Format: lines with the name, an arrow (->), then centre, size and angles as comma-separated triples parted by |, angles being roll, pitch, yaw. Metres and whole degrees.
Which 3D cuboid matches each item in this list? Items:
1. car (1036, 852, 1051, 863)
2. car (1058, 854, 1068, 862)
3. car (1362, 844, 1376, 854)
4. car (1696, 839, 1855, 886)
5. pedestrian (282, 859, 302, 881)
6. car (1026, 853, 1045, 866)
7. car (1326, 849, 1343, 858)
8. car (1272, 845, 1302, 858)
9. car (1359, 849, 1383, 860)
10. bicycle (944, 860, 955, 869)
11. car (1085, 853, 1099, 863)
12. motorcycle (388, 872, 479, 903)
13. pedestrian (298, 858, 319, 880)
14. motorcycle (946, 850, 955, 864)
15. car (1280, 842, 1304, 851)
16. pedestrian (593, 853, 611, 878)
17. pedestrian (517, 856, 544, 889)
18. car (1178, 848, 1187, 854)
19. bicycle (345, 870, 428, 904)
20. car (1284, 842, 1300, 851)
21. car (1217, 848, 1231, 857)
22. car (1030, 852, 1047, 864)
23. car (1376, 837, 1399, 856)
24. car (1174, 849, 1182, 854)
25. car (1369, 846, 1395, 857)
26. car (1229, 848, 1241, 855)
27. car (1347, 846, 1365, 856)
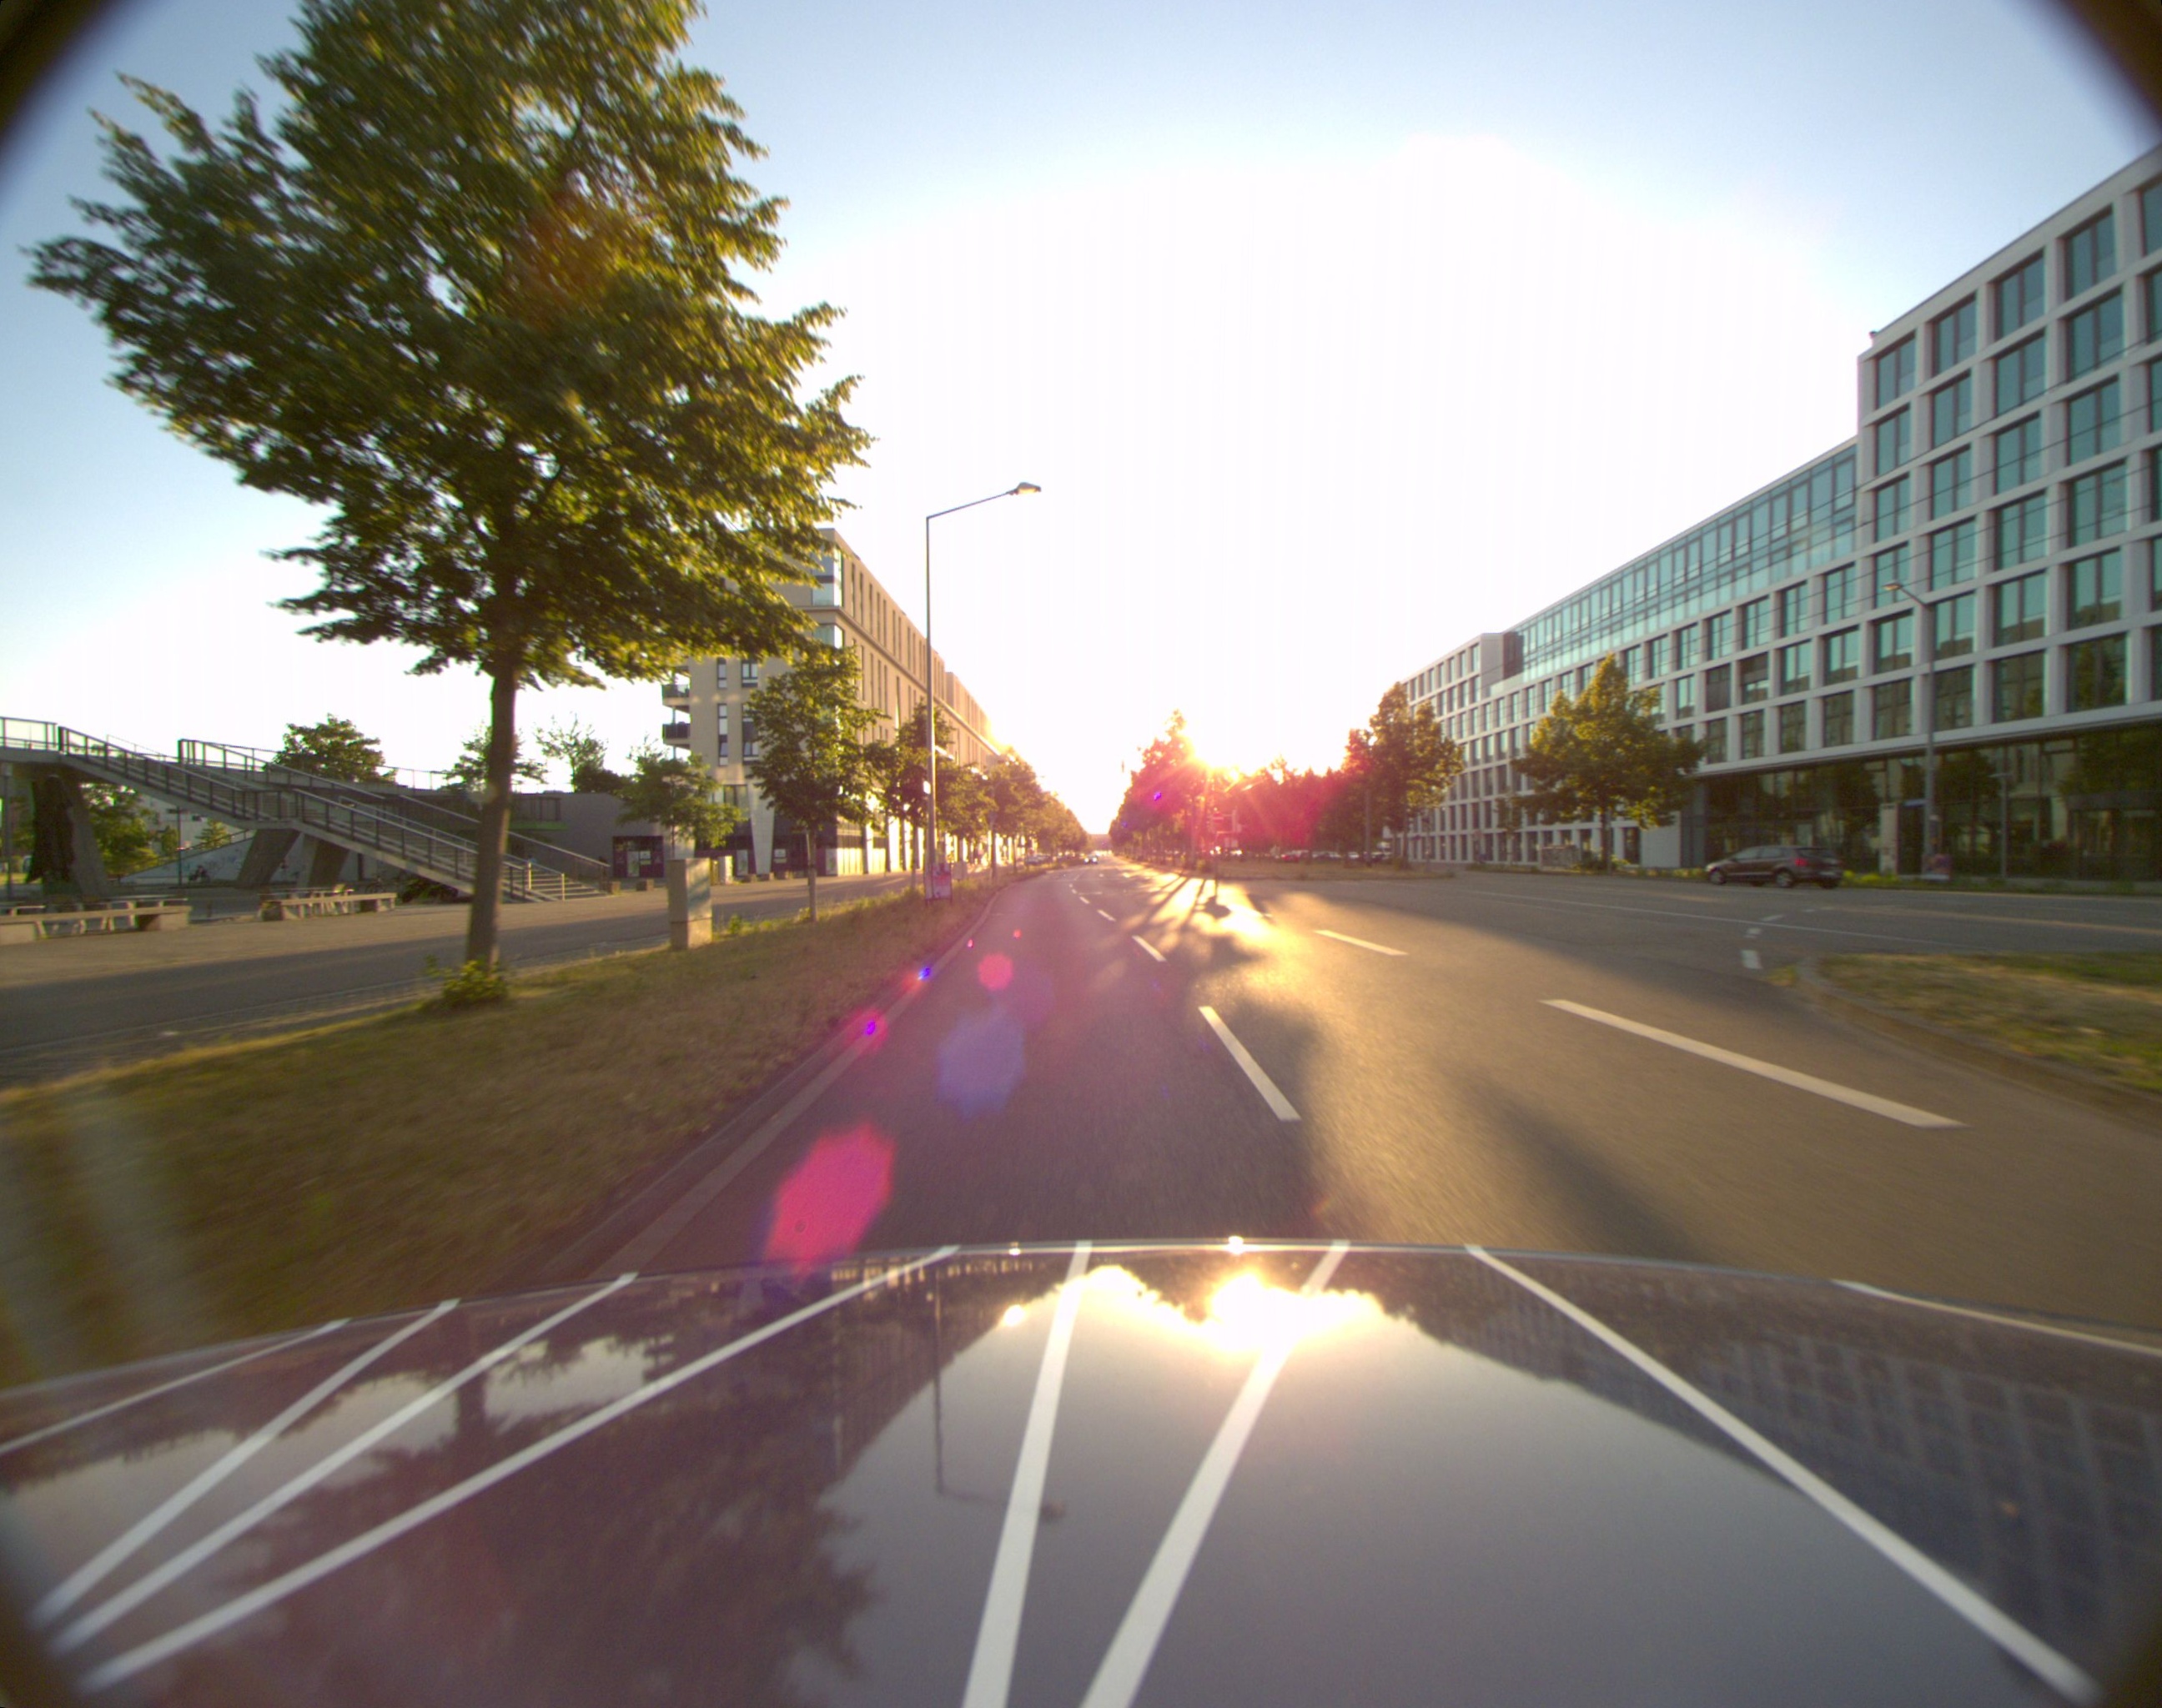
car -> -5.438, 0.495, 110.854 | 1.998, 1.594, 4.000 | -1, 0, 1
car -> -3.751, 0.774, 161.746 | 1.998, 1.594, 4.000 | -1, 0, 1
car -> 51.483, -0.881, 135.746 | 1.849, 1.801, 4.004 | -1, 0, 14
car -> 23.701, 0.261, 26.134 | 1.645, 1.440, 3.998 | -1, 0, -4
pedestrian -> -57.886, 1.177, 55.738 | 0.718, 1.585, 0.796 | -1, 1, -23
car -> -5.528, 0.677, 92.556 | 1.998, 1.455, 4.000 | -1, 0, 1
car -> 42.457, -0.085, 127.366 | 1.997, 1.583, 4.337 | -1, 0, 8
car -> 22.850, -0.271, 84.389 | 1.998, 1.426, 4.898 | -1, 1, 1
car -> 39.460, 0.093, 103.614 | 1.763, 1.395, 4.000 | -1, 0, 0
bicycle -> -13.413, 1.042, 77.508 | 0.547, 0.856, 1.573 | -1, 0, -31
car -> 1.672, 0.576, 113.984 | 1.998, 1.474, 4.335 | -1, 0, 1
motorcycle -> -24.429, 1.254, 28.765 | 0.732, 1.037, 2.694 | -1, 0, 12
pedestrian -> -56.823, 1.129, 55.873 | 0.716, 1.585, 0.798 | -1, 1, 7
motorcycle -> -15.738, 0.315, 91.737 | 0.690, 1.689, 2.123 | -1, 0, 1
car -> 40.928, -1.460, 147.290 | 4.082, 1.731, 2.000 | -1, 0, -1
pedestrian -> -33.121, 0.796, 52.541 | 0.767, 1.673, 0.765 | -1, 1, 3
pedestrian -> -30.883, 1.025, 42.652 | 0.898, 1.833, 0.838 | -1, 1, -5
car -> 24.408, -0.732, 182.845 | 1.649, 1.395, 4.000 | -1, 0, 0
bicycle -> -27.629, 1.290, 30.295 | 0.732, 1.229, 2.451 | -1, 0, 12
car -> 42.167, -1.534, 151.610 | 1.998, 1.731, 4.611 | -1, 0, 1
car -> 23.597, -0.195, 125.495 | 1.649, 1.395, 4.000 | -1, 0, 0
car -> -5.782, 0.551, 103.923 | 1.998, 1.594, 4.000 | -1, 0, 1
car -> 49.984, -1.198, 123.998 | 2.163, 2.973, 5.725 | -1, 0, 9
car -> 25.734, -0.641, 202.190 | 1.649, 1.395, 4.000 | -1, 0, 0
car -> 38.490, -0.307, 97.298 | 1.763, 1.395, 4.000 | -1, 0, 0
car -> 30.391, -0.535, 150.235 | 1.649, 1.395, 4.000 | -1, 0, 0
car -> 44.505, -0.465, 122.915 | 1.997, 1.583, 4.002 | -1, 0, 8
